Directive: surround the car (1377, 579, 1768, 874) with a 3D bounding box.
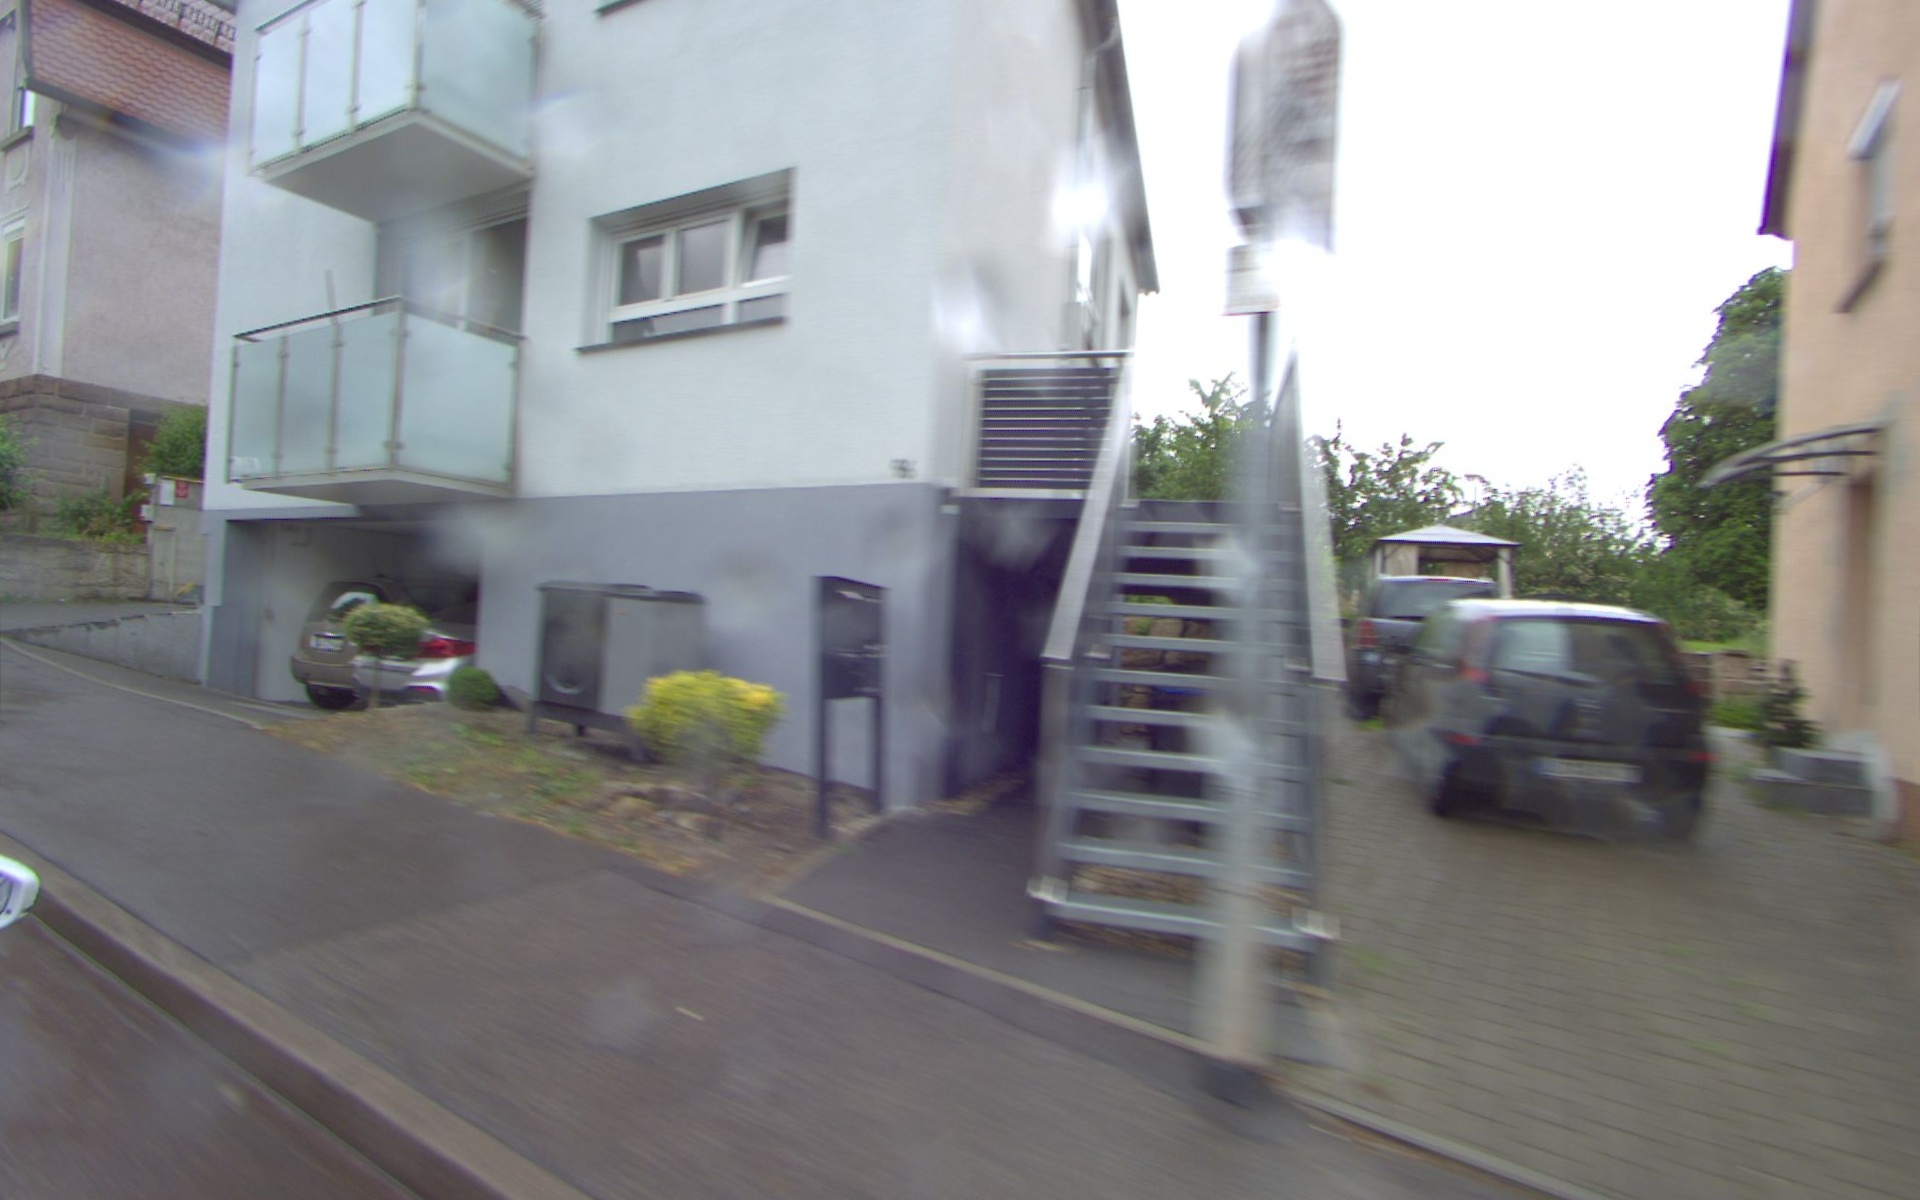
[{"bbox_3d":[4.393,0.690,7.933,1.750,1.470,3.990,5,5,20],"label":"car"}]

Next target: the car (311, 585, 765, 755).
[{"bbox_3d":[-4.387,0.783,11.252,1.727,1.460,4.476,3,-3,31],"label":"car"}]

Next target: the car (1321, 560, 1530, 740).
[{"bbox_3d":[5.427,0.499,12.232,1.690,1.602,3.981,9,3,19],"label":"car"}]

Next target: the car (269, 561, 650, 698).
[{"bbox_3d":[-6.099,0.455,12.745,1.653,1.320,3.980,7,-1,30],"label":"car"}]
